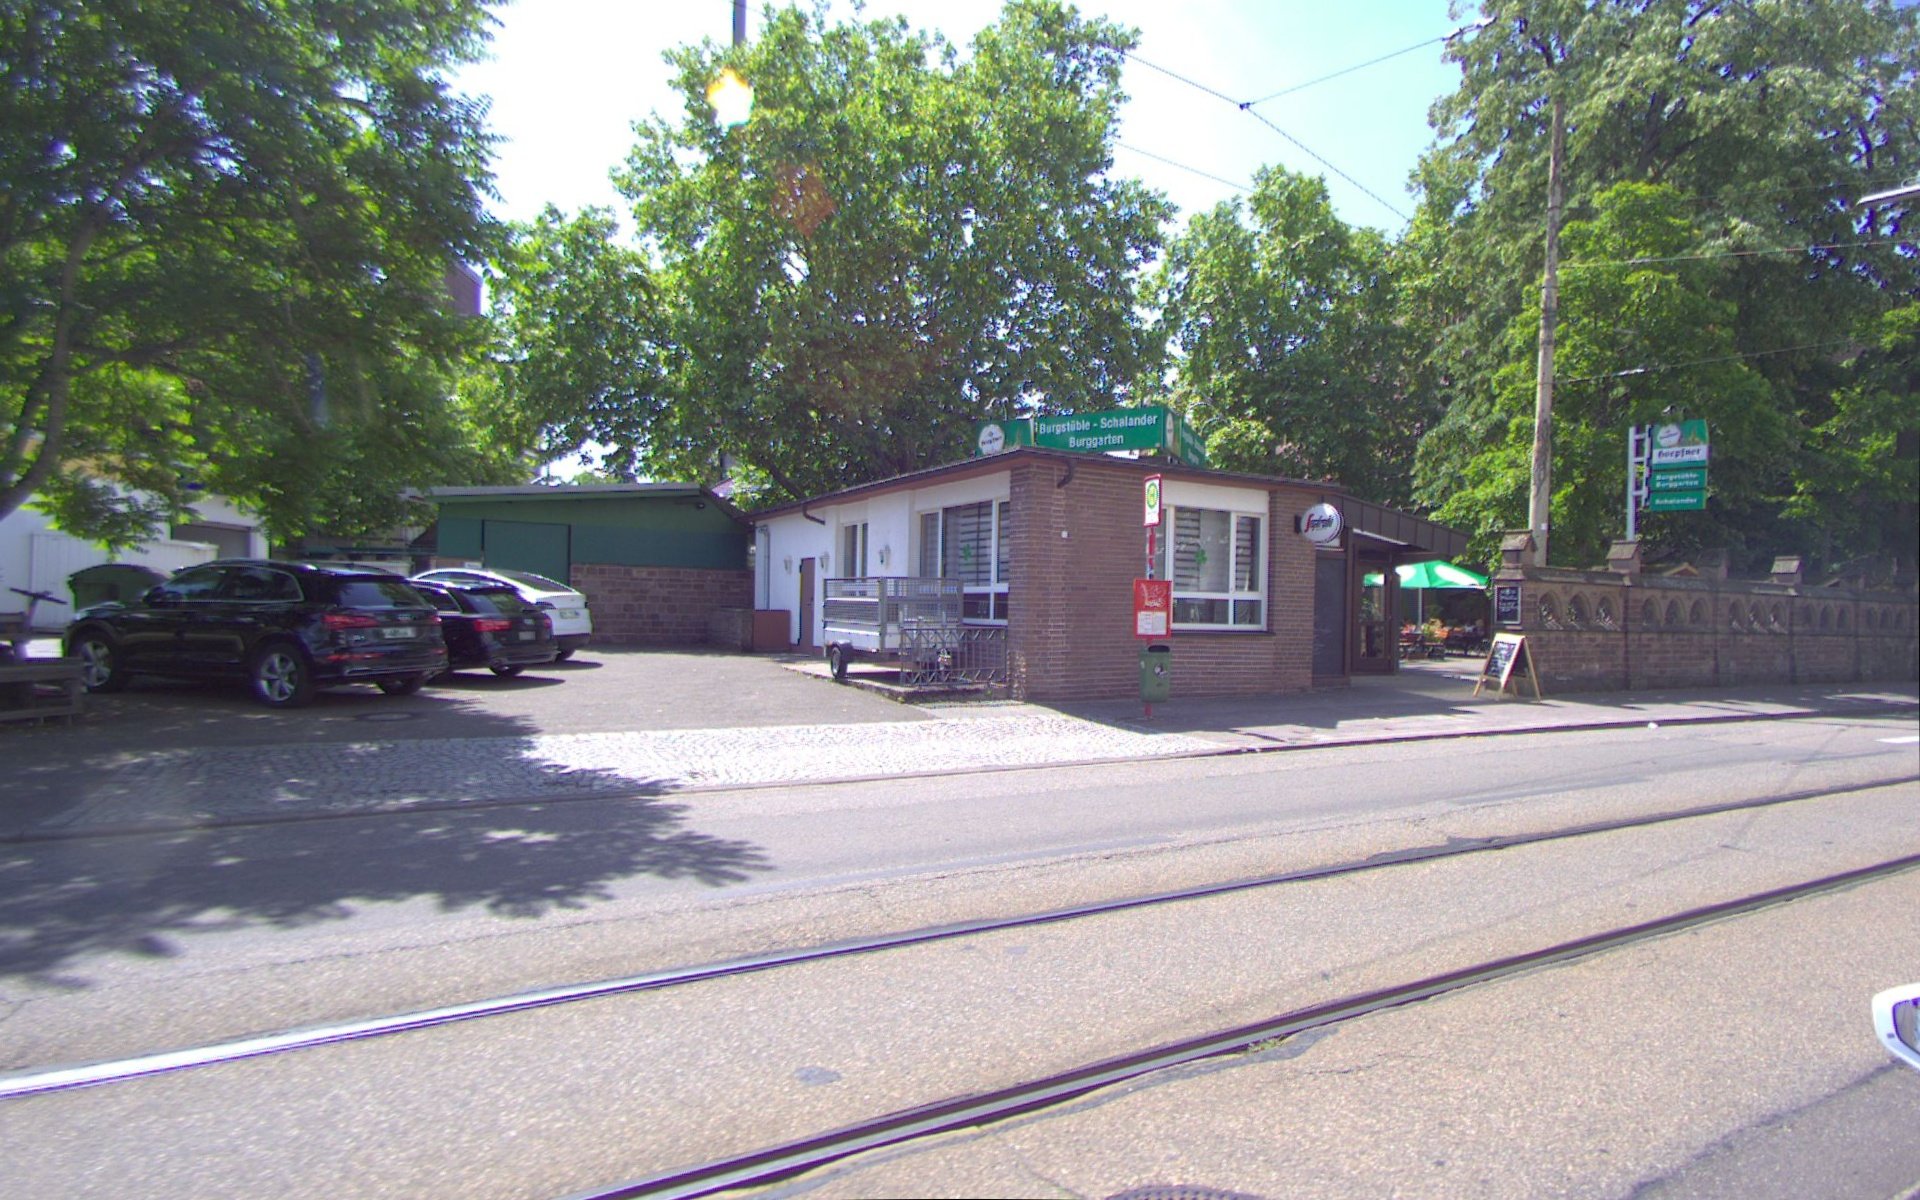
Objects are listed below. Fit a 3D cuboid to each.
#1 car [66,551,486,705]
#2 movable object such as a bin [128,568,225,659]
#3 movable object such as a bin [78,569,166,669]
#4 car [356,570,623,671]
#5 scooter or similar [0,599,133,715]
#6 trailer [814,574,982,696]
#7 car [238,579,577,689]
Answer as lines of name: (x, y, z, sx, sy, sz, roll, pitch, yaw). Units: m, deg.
car: (-8.372, 0.275, 12.416, 4.246, 1.611, 2.001, 2, 0, 15)
movable object such as a bin: (-12.400, 0.209, 15.939, 0.746, 1.372, 1.344, 1, 0, -17)
movable object such as a bin: (-12.131, 0.260, 14.580, 0.749, 1.372, 1.337, 1, 0, -31)
car: (-8.562, 0.324, 18.353, 4.247, 1.613, 1.910, 2, 0, 18)
scooter or similar: (-9.714, 0.598, 10.919, 1.333, 1.190, 0.406, 2, 1, 15)
trailer: (-1.048, 0.491, 15.785, 1.601, 1.726, 2.819, 1, 0, -28)
car: (-8.234, 0.457, 15.103, 4.245, 1.413, 1.911, 2, 0, 13)
